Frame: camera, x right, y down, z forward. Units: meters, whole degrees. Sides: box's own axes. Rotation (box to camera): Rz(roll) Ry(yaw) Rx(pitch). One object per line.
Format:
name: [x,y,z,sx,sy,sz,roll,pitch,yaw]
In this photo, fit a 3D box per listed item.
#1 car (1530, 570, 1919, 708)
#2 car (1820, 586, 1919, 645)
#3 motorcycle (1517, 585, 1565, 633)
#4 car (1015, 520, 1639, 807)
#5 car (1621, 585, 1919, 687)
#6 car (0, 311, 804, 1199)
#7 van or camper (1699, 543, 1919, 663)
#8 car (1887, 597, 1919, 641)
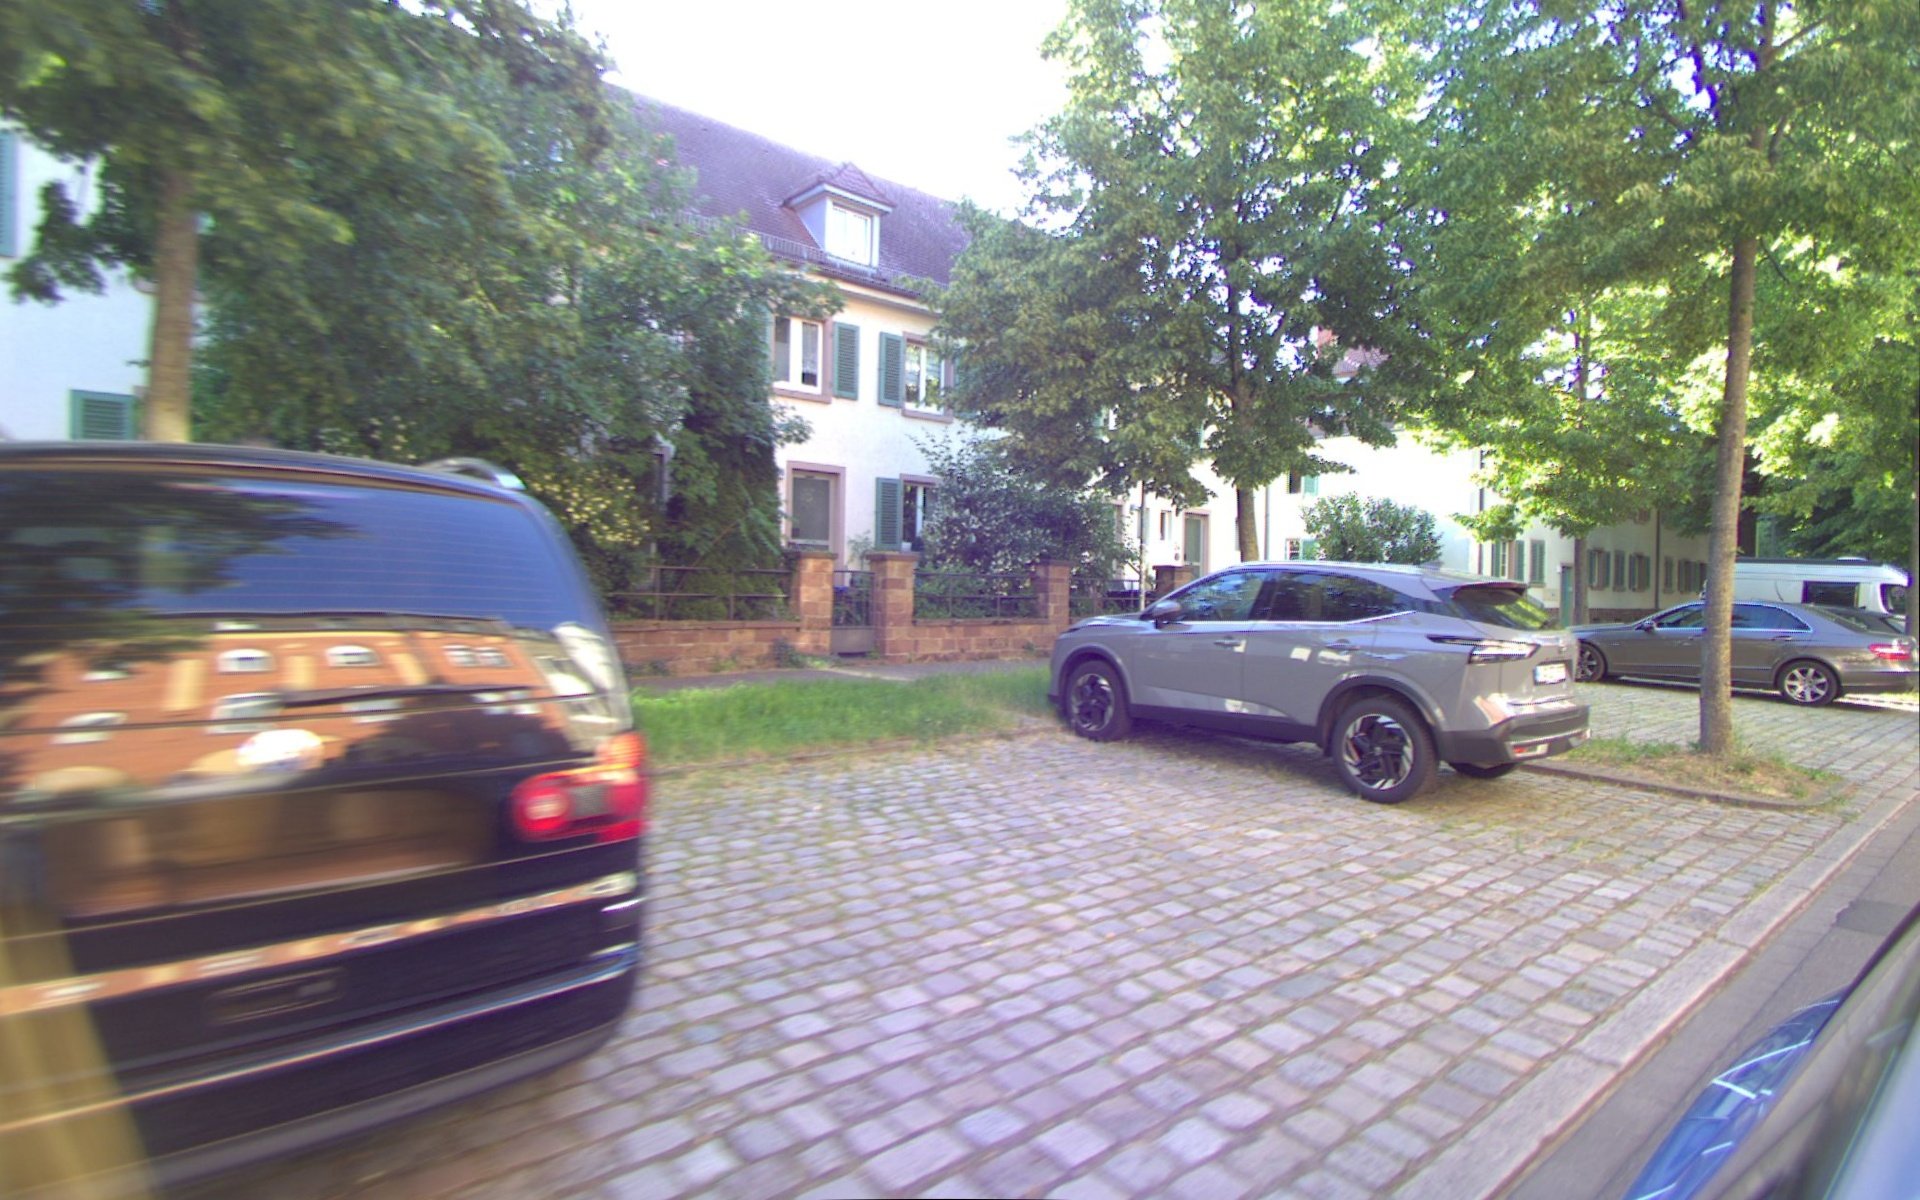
car: [11.827,0.464,15.650,1.862,1.558,4.847,0,4,-42]
car: [30.760,0.550,32.445,1.966,1.737,4.603,1,3,-42]
motorcycle: [17.859,0.269,31.095,1.981,1.424,0.660,-1,0,-41]
car: [2.708,0.258,8.420,1.842,1.653,4.486,0,4,-41]
car: [15.780,0.605,19.709,1.795,1.453,4.488,1,4,-40]
car: [-2.542,0.237,3.635,1.872,1.697,4.596,1,4,-38]
van or camper: [21.670,0.042,24.441,2.124,2.547,5.734,1,4,-40]
car: [36.475,0.757,36.721,1.528,1.571,3.996,1,2,-40]
